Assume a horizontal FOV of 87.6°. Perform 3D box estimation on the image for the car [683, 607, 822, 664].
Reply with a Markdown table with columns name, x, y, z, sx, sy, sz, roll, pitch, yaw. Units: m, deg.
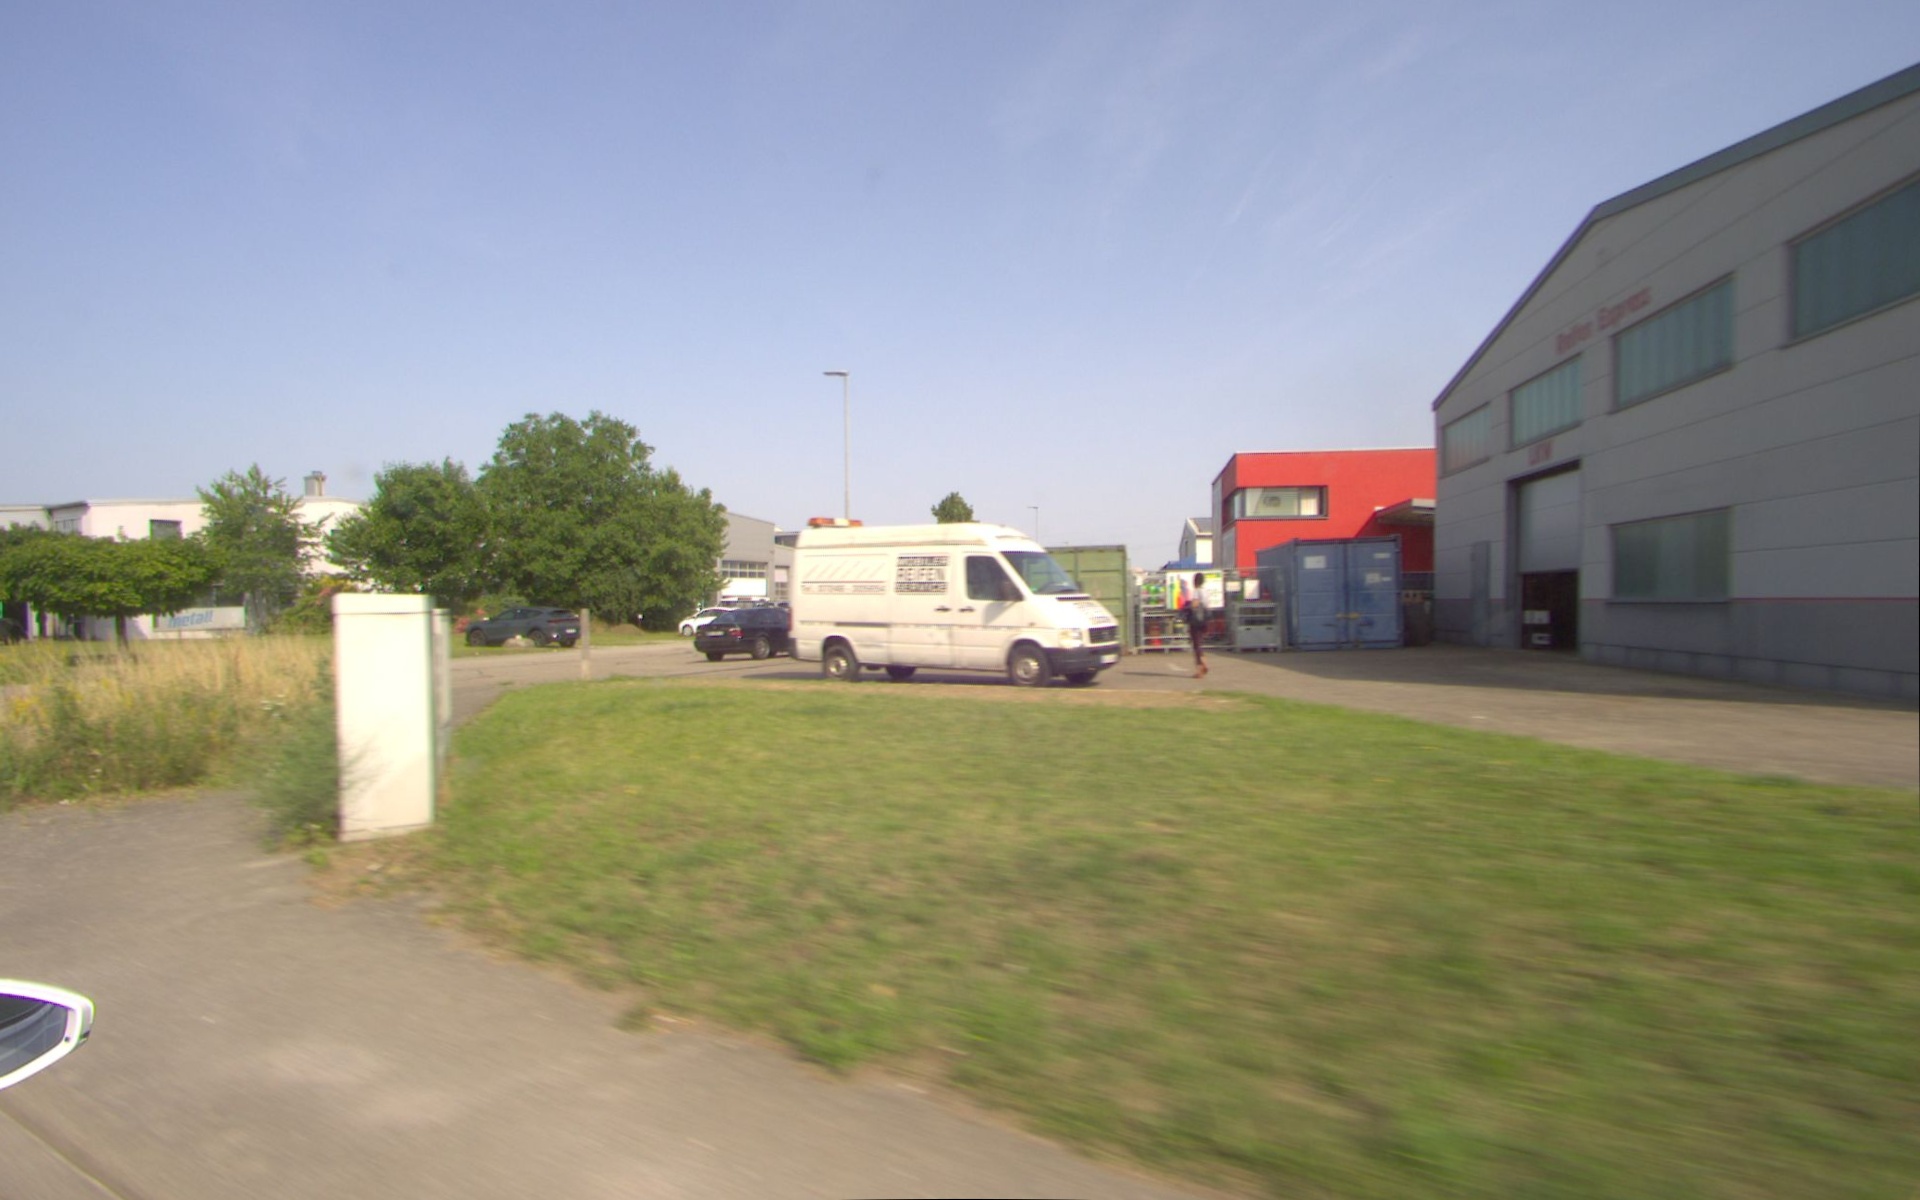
| name | x | y | z | sx | sy | sz | roll | pitch | yaw |
| --- | --- | --- | --- | --- | --- | --- | --- | --- | --- |
| car | -5.824 | 0.967 | 28.687 | 1.780 | 1.427 | 4.462 | -2 | 0 | 20 |

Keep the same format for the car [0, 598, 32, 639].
| name | x | y | z | sx | sy | sz | roll | pitch | yaw |
| --- | --- | --- | --- | --- | --- | --- | --- | --- | --- |
| car | -38.017 | 0.727 | 38.254 | 1.656 | 1.610 | 4.528 | -1 | 0 | -13 |

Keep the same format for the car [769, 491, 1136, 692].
| name | x | y | z | sx | sy | sz | roll | pitch | yaw |
| --- | --- | --- | --- | --- | --- | --- | --- | --- | --- |
| car | -0.258 | -0.090 | 16.058 | 5.798 | 2.741 | 1.969 | 0 | 0 | 33 |

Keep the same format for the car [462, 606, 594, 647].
| name | x | y | z | sx | sy | sz | roll | pitch | yaw |
| --- | --- | --- | --- | --- | --- | --- | --- | --- | --- |
| car | -15.892 | 0.984 | 36.898 | 4.266 | 1.428 | 1.785 | -1 | 1 | 14 |

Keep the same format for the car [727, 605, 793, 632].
| name | x | y | z | sx | sy | sz | roll | pitch | yaw |
| --- | --- | --- | --- | --- | --- | --- | --- | --- | --- |
| car | -11.123 | 1.019 | 55.742 | 3.256 | 1.428 | 1.561 | -1 | 0 | 13 |

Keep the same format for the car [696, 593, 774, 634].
| name | x | y | z | sx | sy | sz | roll | pitch | yaw |
| --- | --- | --- | --- | --- | --- | --- | --- | --- | --- |
| car | -11.954 | 0.694 | 53.300 | 3.638 | 1.983 | 1.683 | 3 | 2 | 13 |

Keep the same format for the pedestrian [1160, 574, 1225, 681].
| name | x | y | z | sx | sy | sz | roll | pitch | yaw |
| --- | --- | --- | --- | --- | --- | --- | --- | --- | --- |
| pedestrian | 3.721 | 0.424 | 16.010 | 0.696 | 1.661 | 0.744 | -1 | 1 | -35 |

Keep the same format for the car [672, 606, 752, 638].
| name | x | y | z | sx | sy | sz | roll | pitch | yaw |
| --- | --- | --- | --- | --- | --- | --- | --- | --- | --- |
| car | -12.257 | 1.080 | 49.561 | 3.453 | 1.469 | 1.561 | -2 | 0 | 13 |
